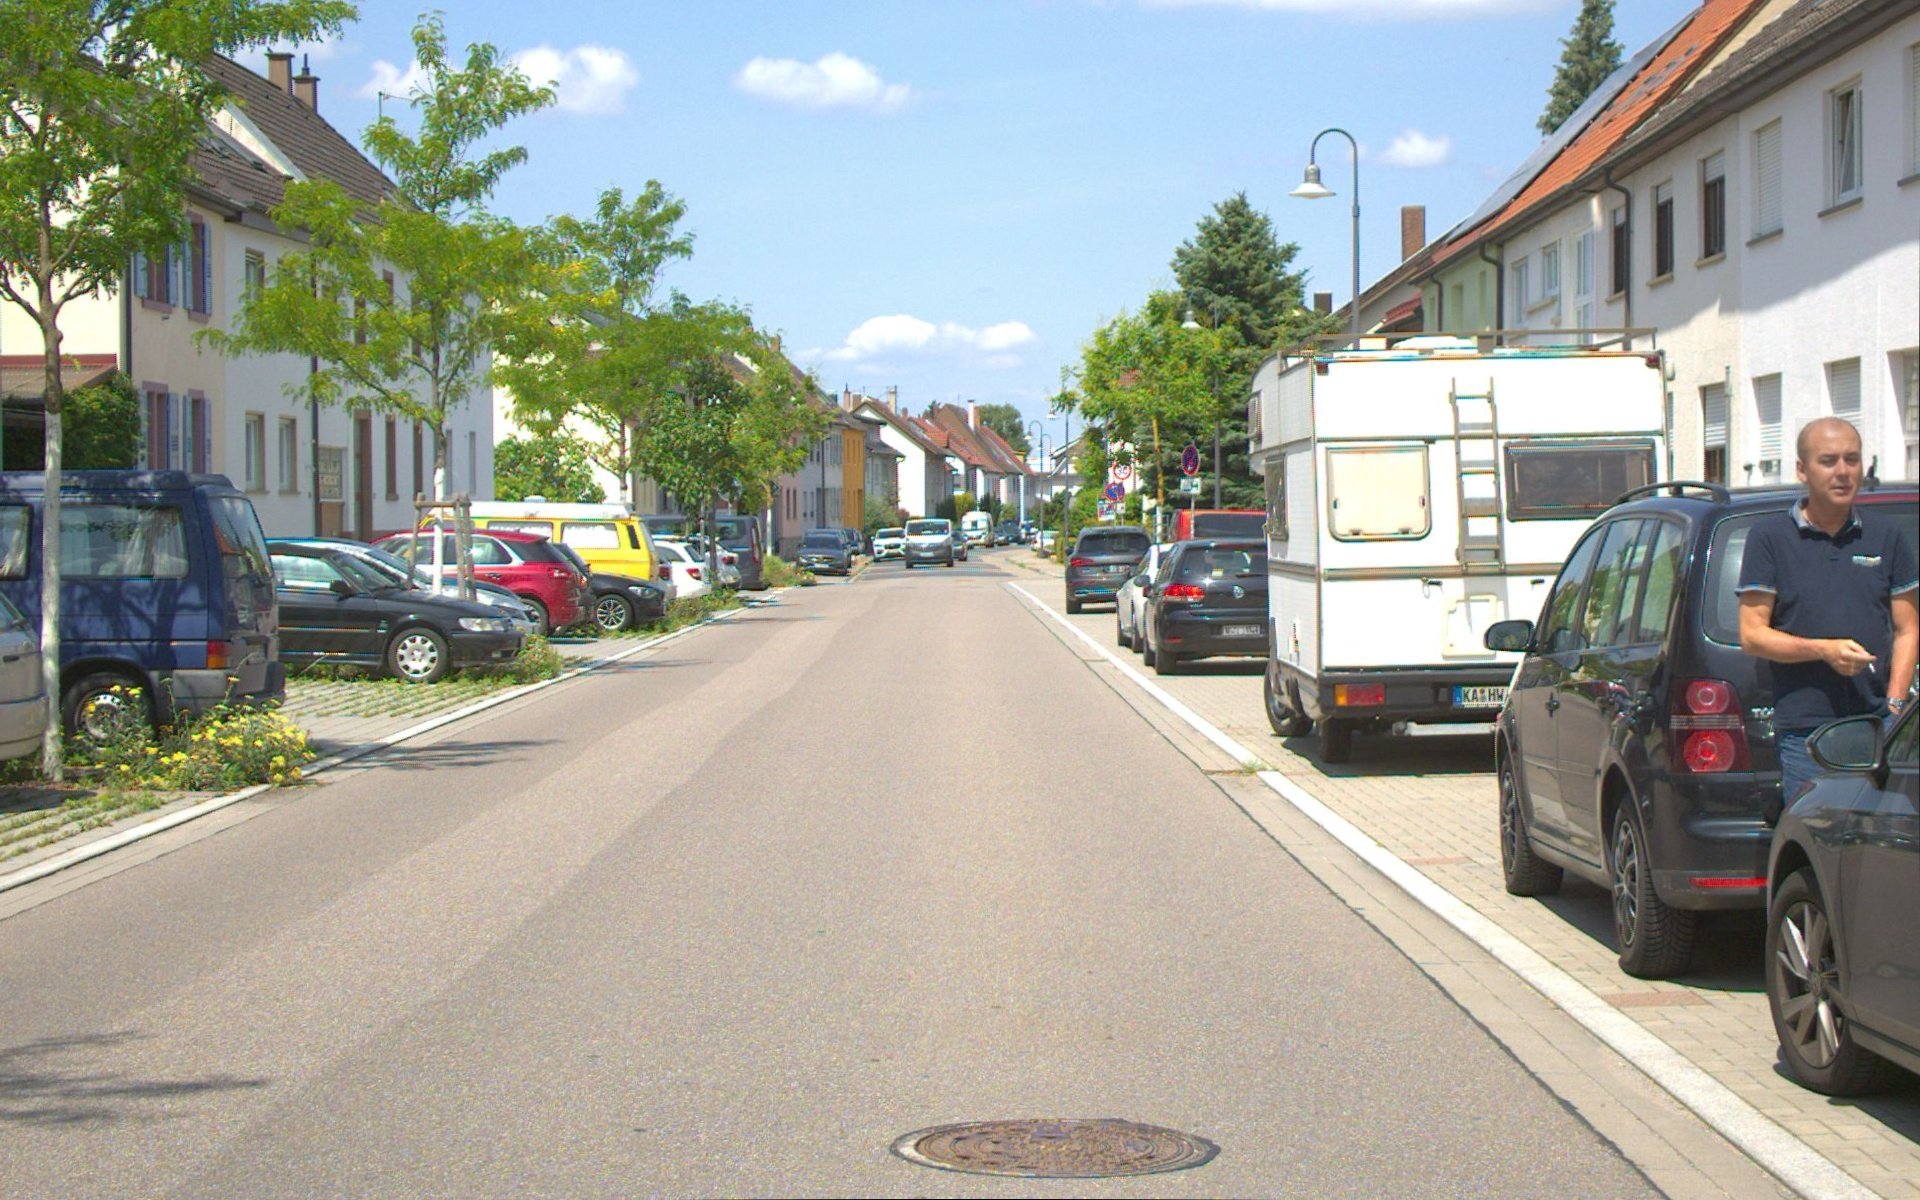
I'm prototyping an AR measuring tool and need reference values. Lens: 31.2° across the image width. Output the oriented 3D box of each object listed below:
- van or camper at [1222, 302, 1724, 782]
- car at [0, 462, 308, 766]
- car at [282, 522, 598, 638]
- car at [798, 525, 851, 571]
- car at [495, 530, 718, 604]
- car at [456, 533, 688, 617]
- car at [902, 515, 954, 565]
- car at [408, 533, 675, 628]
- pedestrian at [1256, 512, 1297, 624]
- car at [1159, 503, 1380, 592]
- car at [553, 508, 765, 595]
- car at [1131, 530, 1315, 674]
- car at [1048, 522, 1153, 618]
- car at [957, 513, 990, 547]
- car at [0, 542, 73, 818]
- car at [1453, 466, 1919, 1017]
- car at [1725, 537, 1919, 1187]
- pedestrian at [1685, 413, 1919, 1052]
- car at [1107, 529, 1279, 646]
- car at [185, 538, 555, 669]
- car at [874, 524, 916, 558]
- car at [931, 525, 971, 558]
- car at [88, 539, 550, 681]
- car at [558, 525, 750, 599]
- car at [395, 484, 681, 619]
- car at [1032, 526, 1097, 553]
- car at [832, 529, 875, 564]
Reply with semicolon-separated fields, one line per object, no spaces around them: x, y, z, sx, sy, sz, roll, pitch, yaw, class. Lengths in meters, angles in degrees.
3.300;-0.425;23.516;2.473;2.800;5.791;-2;2;0;van or camper
-7.002;0.061;23.694;4.613;1.989;1.953;0;1;2;car
-7.410;-0.298;49.288;4.253;1.606;1.843;0;1;0;car
-4.917;-1.891;124.411;1.816;1.428;4.140;3;2;-3;car
-7.143;-0.667;69.741;4.295;1.463;1.774;0;0;2;car
-6.979;-0.461;61.727;4.071;1.463;1.754;0;1;-8;car
-1.315;-2.383;137.947;2.022;1.943;4.899;-1;1;-1;car
-6.613;-0.328;54.566;4.010;1.454;1.755;0;1;0;car
4.990;-0.501;54.252;0.557;1.743;0.673;-1;0;1;pedestrian
6.765;-1.146;75.447;4.618;1.887;2.021;1;0;-1;car
-6.927;-1.126;79.466;4.700;1.916;1.938;1;0;0;car
2.890;-0.017;38.482;1.767;1.524;4.007;0;1;0;car
2.674;-0.597;65.670;1.864;1.630;4.446;-3;2;2;car
0.972;-4.934;243.113;2.045;2.304;3.771;1;1;4;car
-7.113;0.410;19.053;3.916;1.483;1.772;0;1;2;car
3.015;0.391;12.777;1.767;1.699;4.325;0;1;0;car
3.089;0.606;7.509;1.766;1.483;4.297;0;1;-2;car
2.578;0.378;10.228;0.716;1.846;0.578;0;1;0;pedestrian
3.037;-0.203;45.698;1.832;1.460;4.520;0;1;-2;car
-6.840;0.025;40.151;4.053;1.473;1.776;0;1;-2;car
-3.267;-2.970;173.305;1.850;1.653;4.000;1;1;3;car
-0.435;-2.785;163.286;1.762;1.517;4.049;-2;1;-1;car
-6.686;0.084;36.177;4.524;1.420;1.796;0;1;0;car
-6.796;-0.848;76.617;4.182;1.563;1.774;1;0;-3;car
-6.984;-0.817;57.219;4.508;2.170;1.925;0;1;0;car
5.762;-3.326;189.047;3.523;1.459;1.628;1;0;1;car
-4.992;-2.528;161.450;1.811;1.603;4.000;1;1;1;car
